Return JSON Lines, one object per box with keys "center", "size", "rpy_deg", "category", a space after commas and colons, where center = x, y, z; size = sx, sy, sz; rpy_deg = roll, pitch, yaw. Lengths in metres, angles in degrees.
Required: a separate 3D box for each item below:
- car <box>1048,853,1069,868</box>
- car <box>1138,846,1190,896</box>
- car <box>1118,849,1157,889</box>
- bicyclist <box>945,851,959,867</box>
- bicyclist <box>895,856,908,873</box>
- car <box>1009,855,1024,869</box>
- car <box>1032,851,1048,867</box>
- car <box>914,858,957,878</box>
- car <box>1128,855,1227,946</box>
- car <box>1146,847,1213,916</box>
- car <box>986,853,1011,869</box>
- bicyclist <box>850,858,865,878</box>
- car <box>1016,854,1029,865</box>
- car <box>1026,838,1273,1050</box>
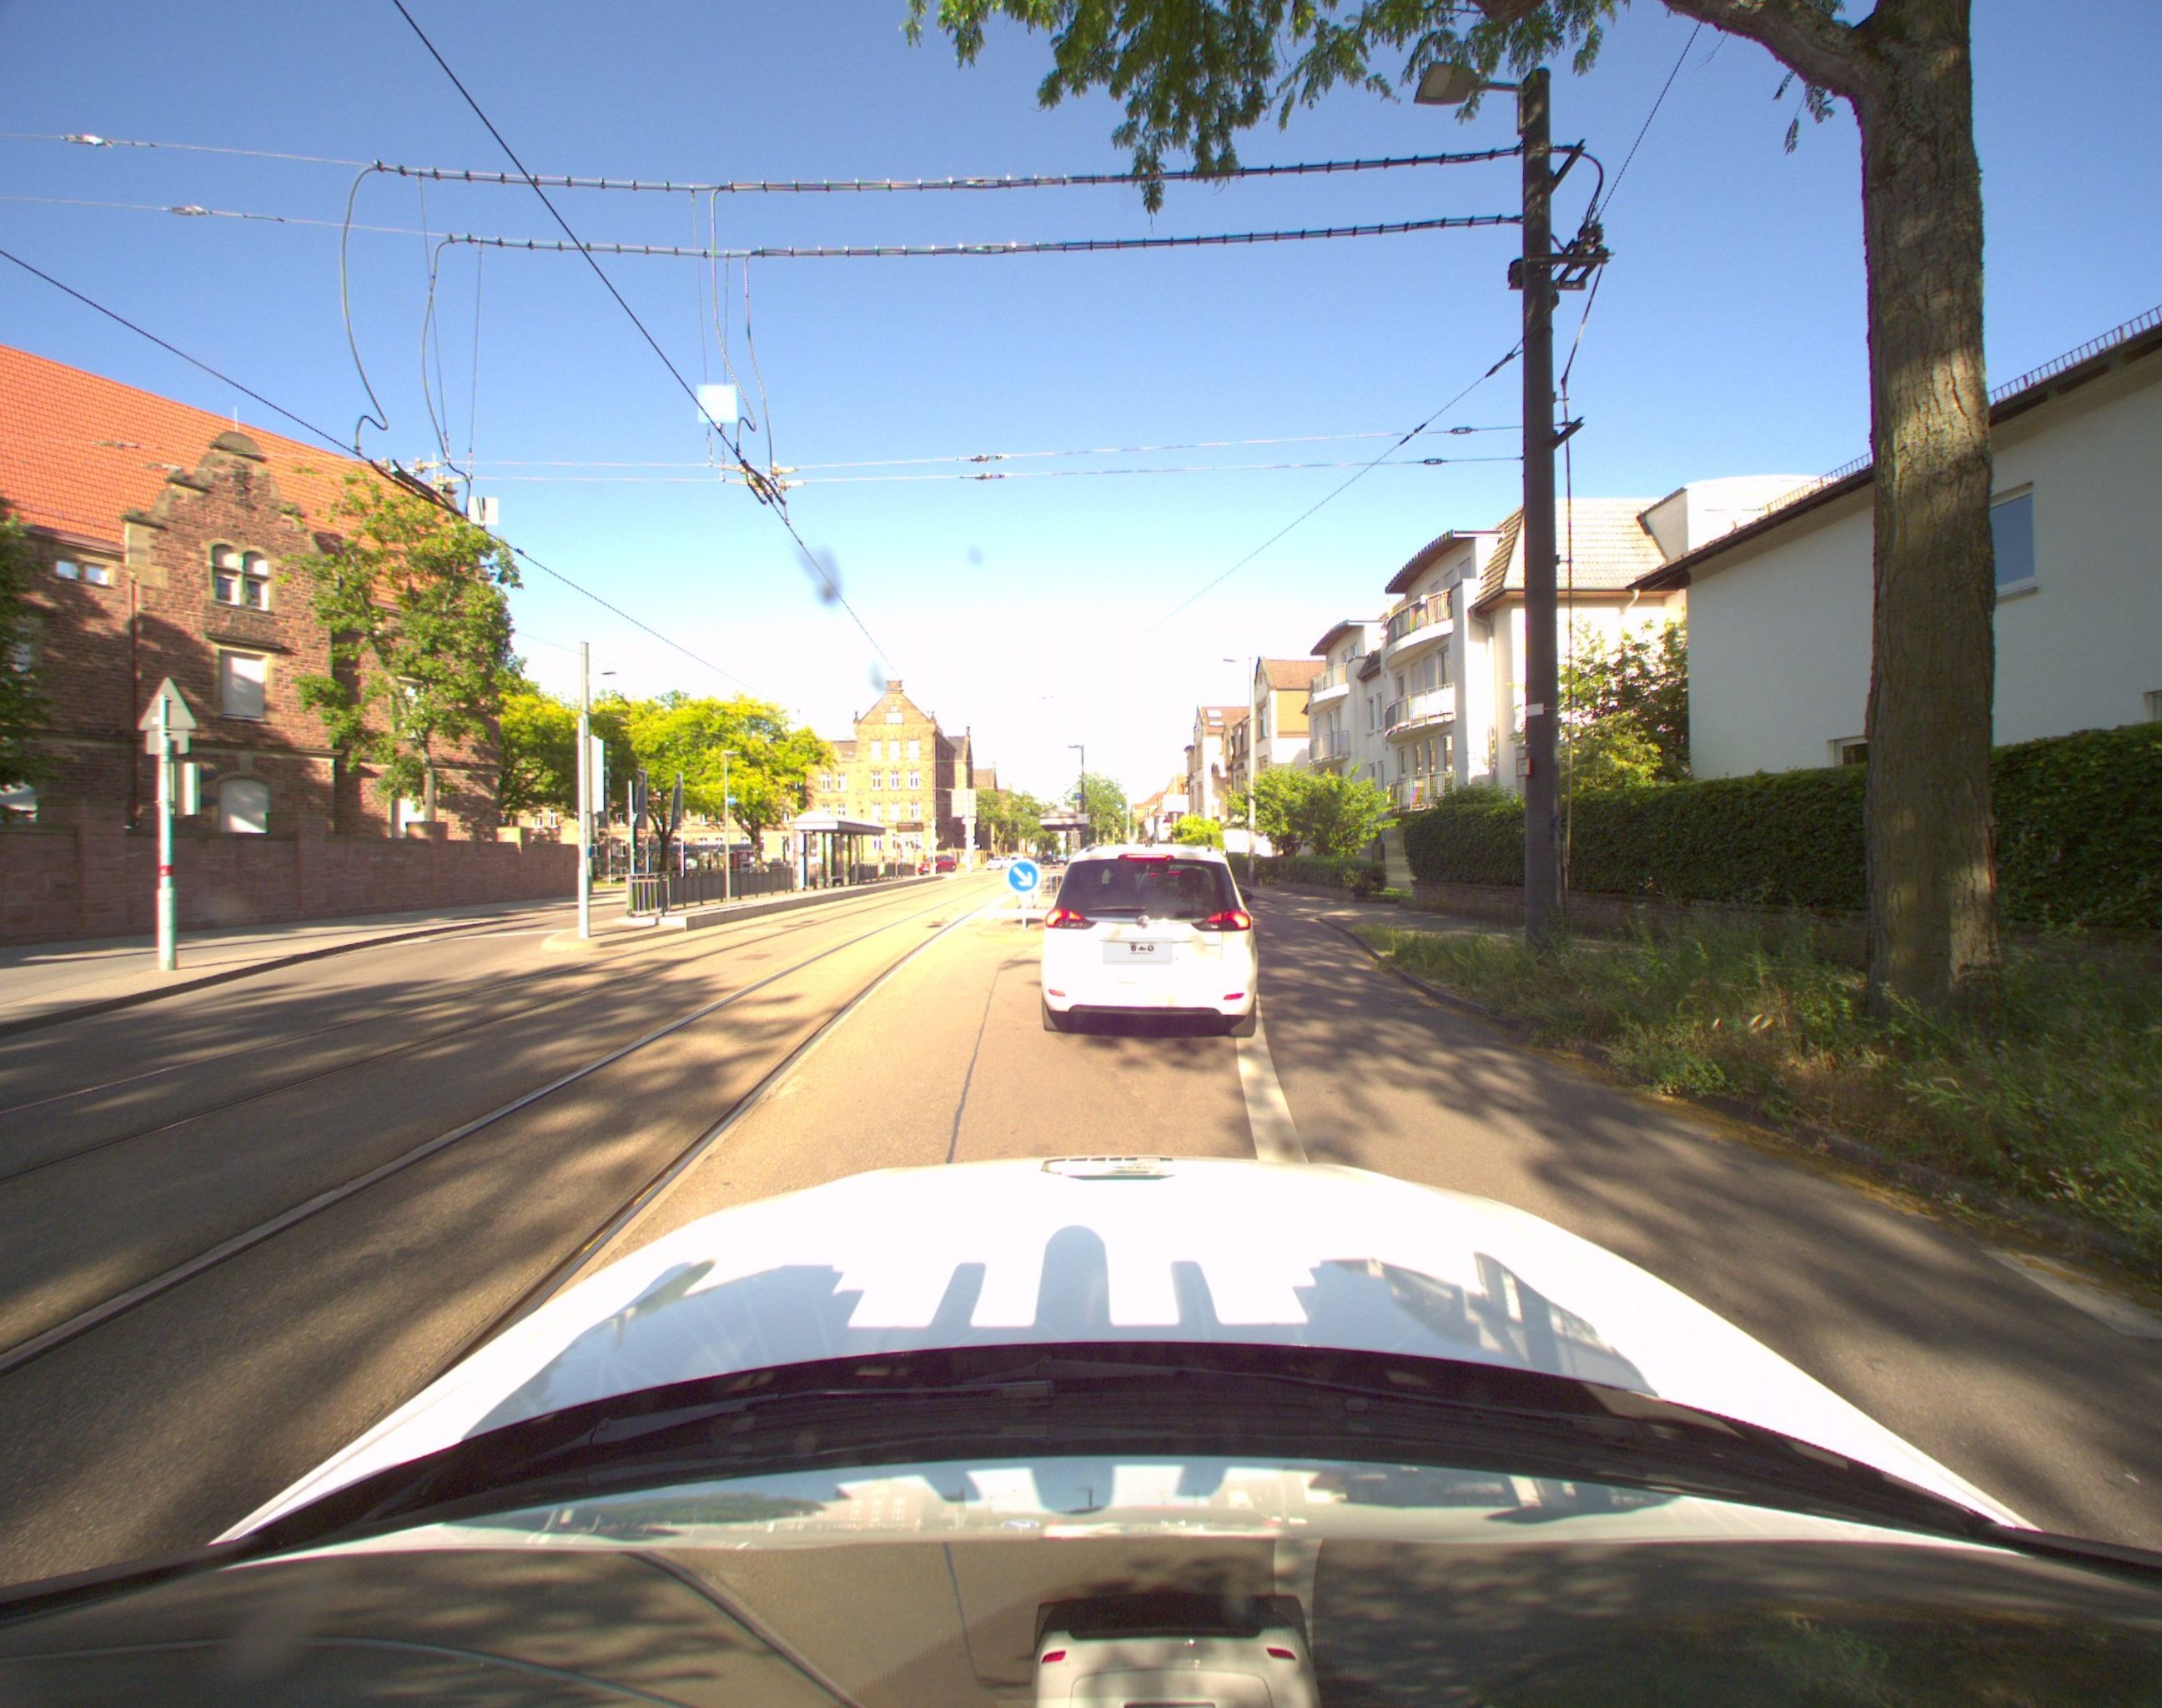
{"center": [-2.515, 0.701, 91.815], "size": [1.985, 1.596, 4.003], "rpy_deg": [-1, 0, 3], "category": "car"}
{"center": [2.918, 0.574, 29.237], "size": [1.590, 1.635, 3.903], "rpy_deg": [1, 0, 2], "category": "car"}
{"center": [2.517, 0.628, 36.845], "size": [1.590, 1.635, 3.903], "rpy_deg": [1, 1, 2], "category": "car"}
{"center": [-12.806, 0.523, 80.782], "size": [0.754, 1.536, 1.355], "rpy_deg": [0, 0, 22], "category": "bicyclist"}
{"center": [-16.183, 0.928, 73.336], "size": [0.752, 1.470, 1.194], "rpy_deg": [-2, -1, 10], "category": "bicyclist"}
{"center": [-8.449, 1.061, 106.686], "size": [1.824, 1.788, 4.248], "rpy_deg": [-1, 0, -5], "category": "car"}
{"center": [-5.500, 0.607, 108.016], "size": [1.990, 2.013, 3.994], "rpy_deg": [-1, 0, -4], "category": "car"}
{"center": [-12.547, 1.155, 70.522], "size": [1.804, 1.607, 4.378], "rpy_deg": [-1, 0, 16], "category": "car"}
{"center": [1.779, 0.740, 14.864], "size": [1.560, 1.401, 3.792], "rpy_deg": [1, 0, 7], "category": "car"}
{"center": [2.566, 0.641, 21.102], "size": [1.560, 1.614, 3.792], "rpy_deg": [1, 0, 7], "category": "car"}
{"center": [-9.885, 0.835, 97.905], "size": [1.686, 1.809, 4.015], "rpy_deg": [-1, 0, 14], "category": "car"}
{"center": [-16.862, 1.057, 61.500], "size": [0.649, 1.459, 1.154], "rpy_deg": [-1, 0, 5], "category": "bicyclist"}
{"center": [-8.863, 0.802, 124.122], "size": [1.822, 1.617, 4.324], "rpy_deg": [-1, -1, -2], "category": "car"}
{"center": [0.764, 0.674, 8.193], "size": [1.868, 1.585, 4.008], "rpy_deg": [0, 0, 7], "category": "car"}
